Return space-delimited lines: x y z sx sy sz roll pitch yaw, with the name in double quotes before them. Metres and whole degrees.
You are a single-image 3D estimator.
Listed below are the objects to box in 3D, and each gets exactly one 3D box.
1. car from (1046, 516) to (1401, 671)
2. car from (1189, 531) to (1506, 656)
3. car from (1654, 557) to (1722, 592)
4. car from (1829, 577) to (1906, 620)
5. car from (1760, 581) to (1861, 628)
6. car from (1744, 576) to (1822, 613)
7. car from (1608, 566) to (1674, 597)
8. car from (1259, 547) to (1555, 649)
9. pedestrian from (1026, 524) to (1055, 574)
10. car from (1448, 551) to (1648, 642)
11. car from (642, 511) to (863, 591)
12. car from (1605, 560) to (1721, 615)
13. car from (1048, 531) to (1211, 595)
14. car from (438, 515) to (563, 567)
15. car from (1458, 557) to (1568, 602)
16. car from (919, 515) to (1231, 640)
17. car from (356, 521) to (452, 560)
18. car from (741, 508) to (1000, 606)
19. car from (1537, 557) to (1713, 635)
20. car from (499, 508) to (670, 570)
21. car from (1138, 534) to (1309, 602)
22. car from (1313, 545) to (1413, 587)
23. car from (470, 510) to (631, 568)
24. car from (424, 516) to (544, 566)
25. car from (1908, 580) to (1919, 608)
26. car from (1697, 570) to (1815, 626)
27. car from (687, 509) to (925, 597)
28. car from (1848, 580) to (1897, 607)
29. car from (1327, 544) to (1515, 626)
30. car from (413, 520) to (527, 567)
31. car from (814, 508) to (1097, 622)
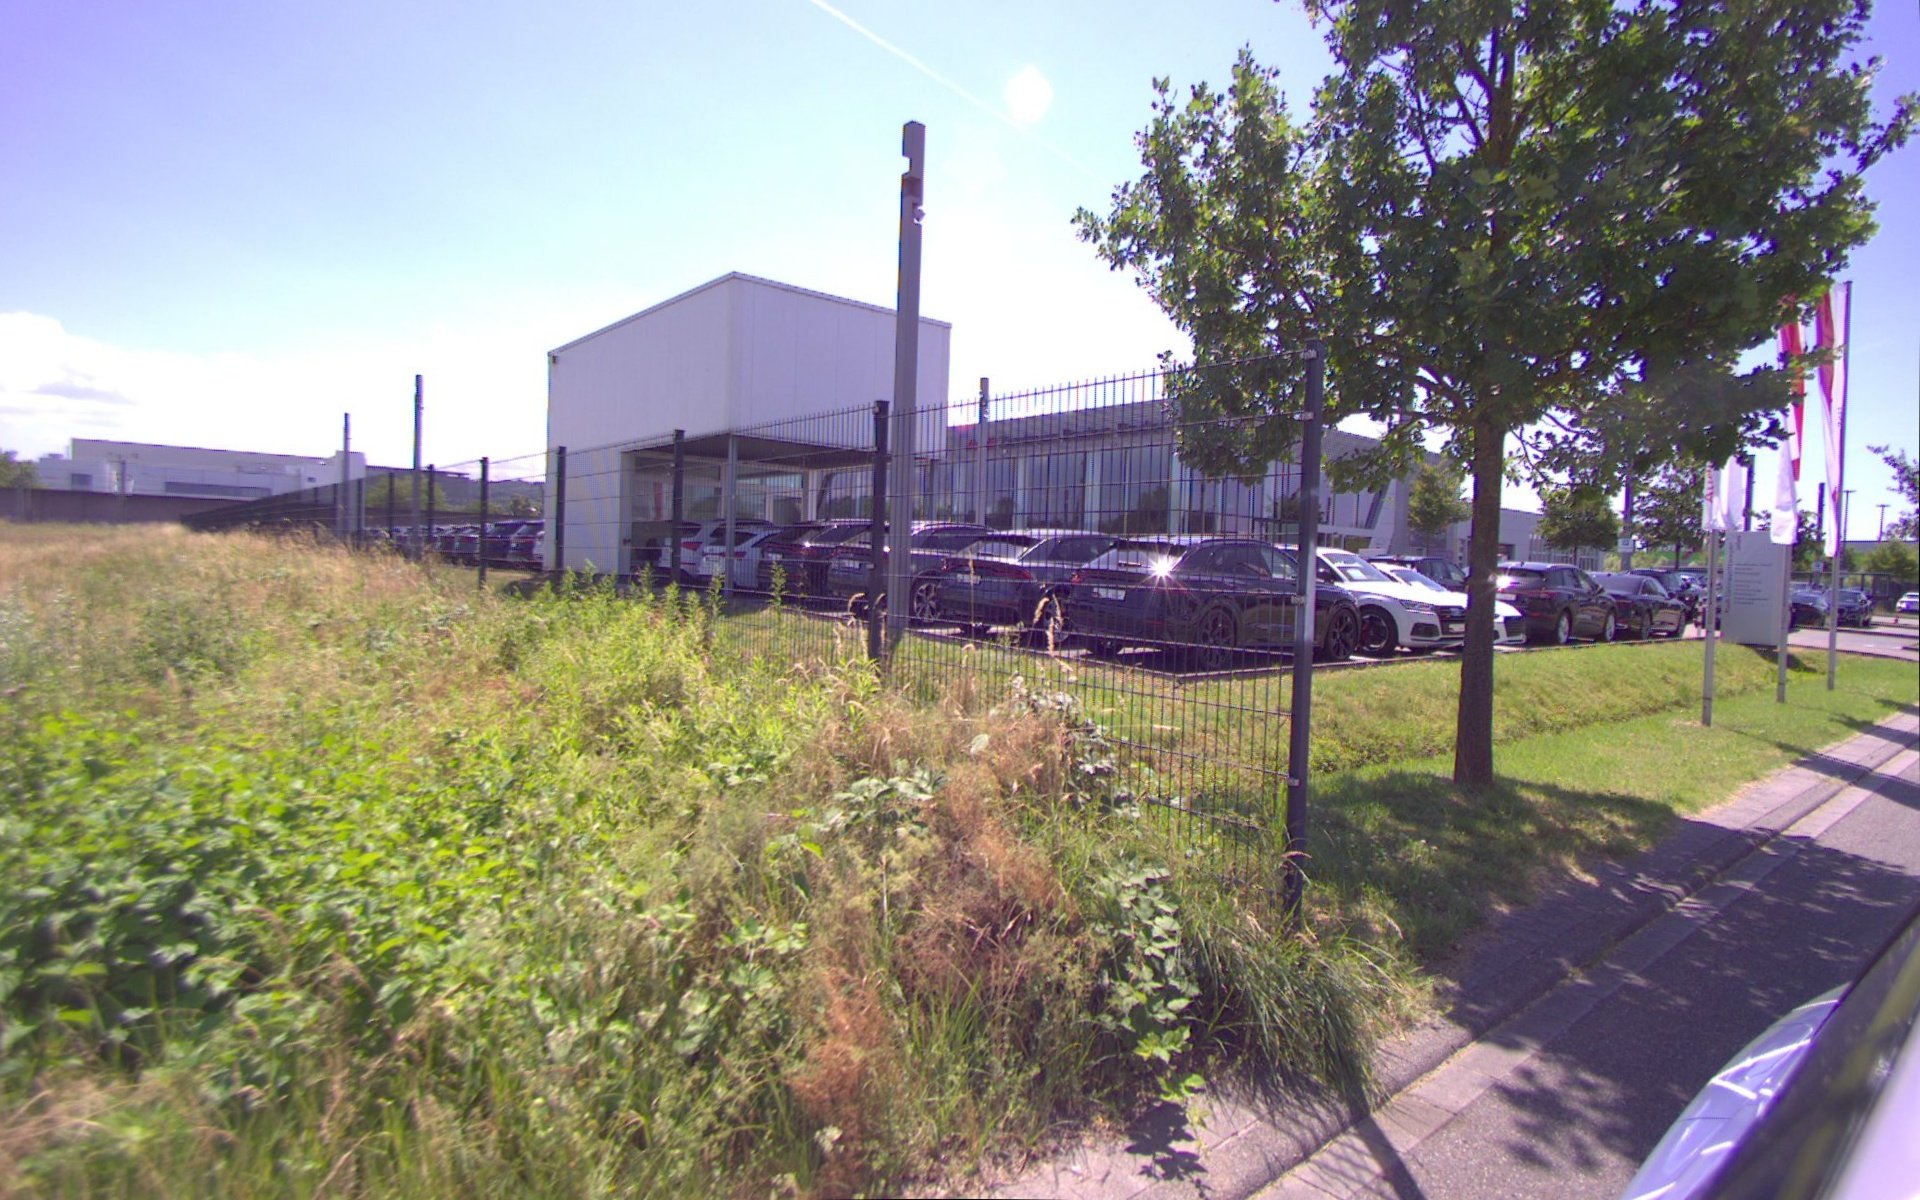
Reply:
"car" 3.705 -0.129 13.722 5.016 1.713 2.031 0 4 -39
"car" 6.308 -0.214 16.991 1.994 1.713 4.544 1 4 -37
"car" 38.167 -1.309 53.031 4.214 1.632 1.966 0 4 -42
"car" 38.934 -0.082 43.408 4.154 1.589 1.892 0 6 -42
"car" 30.669 0.181 36.446 4.637 1.382 1.967 2 5 -41
"car" 36.957 -0.253 45.423 4.154 1.382 1.966 0 6 -42
"car" 37.658 -1.019 55.918 4.297 1.494 1.966 0 4 -42
"car" 8.095 -0.122 18.684 1.996 1.475 4.538 0 4 -42
"pedestrian" 2.900 -1.830 36.336 0.626 1.717 0.711 3 0 -41
"car" 12.159 -0.099 20.816 4.694 1.592 2.030 0 4 -40
"car" -4.861 -1.147 24.107 4.722 1.674 2.031 0 4 -39
"car" 23.645 -0.481 33.948 4.899 1.617 1.966 -2 6 -41
"car" 4.922 -1.039 29.068 4.694 1.609 2.030 0 4 -40
"car" -17.454 -2.233 38.486 3.930 1.806 1.998 0 3 -41
"car" 20.816 -0.825 37.993 4.899 1.474 1.966 -2 6 -41
"car" 1.881 -0.352 15.653 4.722 1.630 2.031 0 4 -39
"car" -28.219 -3.002 51.403 3.930 1.806 1.998 0 3 -41
"car" -1.673 -0.815 19.943 4.722 1.699 2.031 0 4 -39
"car" 15.939 -0.121 24.142 5.146 1.532 2.031 0 5 -40
"car" -12.031 -1.954 32.567 4.722 1.746 2.031 0 4 -39
"car" 7.072 -0.825 26.950 4.694 1.609 2.030 0 4 -40
"car" 17.573 -1.511 44.061 4.899 1.640 1.966 -2 6 -41
"car" -13.962 -2.079 34.641 4.722 1.746 2.031 0 4 -39
"car" -18.930 -2.323 40.314 3.930 1.806 1.998 0 3 -41
"car" 57.375 -0.289 59.554 4.859 1.547 1.823 0 4 -42
"car" 25.124 -0.113 31.881 4.899 1.474 1.966 -2 6 -41
"car" -3.275 -0.990 22.054 4.722 1.674 2.031 0 4 -39
"car" 63.281 -0.441 70.180 4.546 1.649 1.966 0 4 -42
"car" 10.523 -0.342 22.955 4.694 1.609 2.030 0 4 -40
"car" -20.540 -2.336 42.459 3.930 1.806 1.998 0 3 -41
"car" 0.009 -0.604 17.840 4.722 1.746 2.031 0 4 -39
